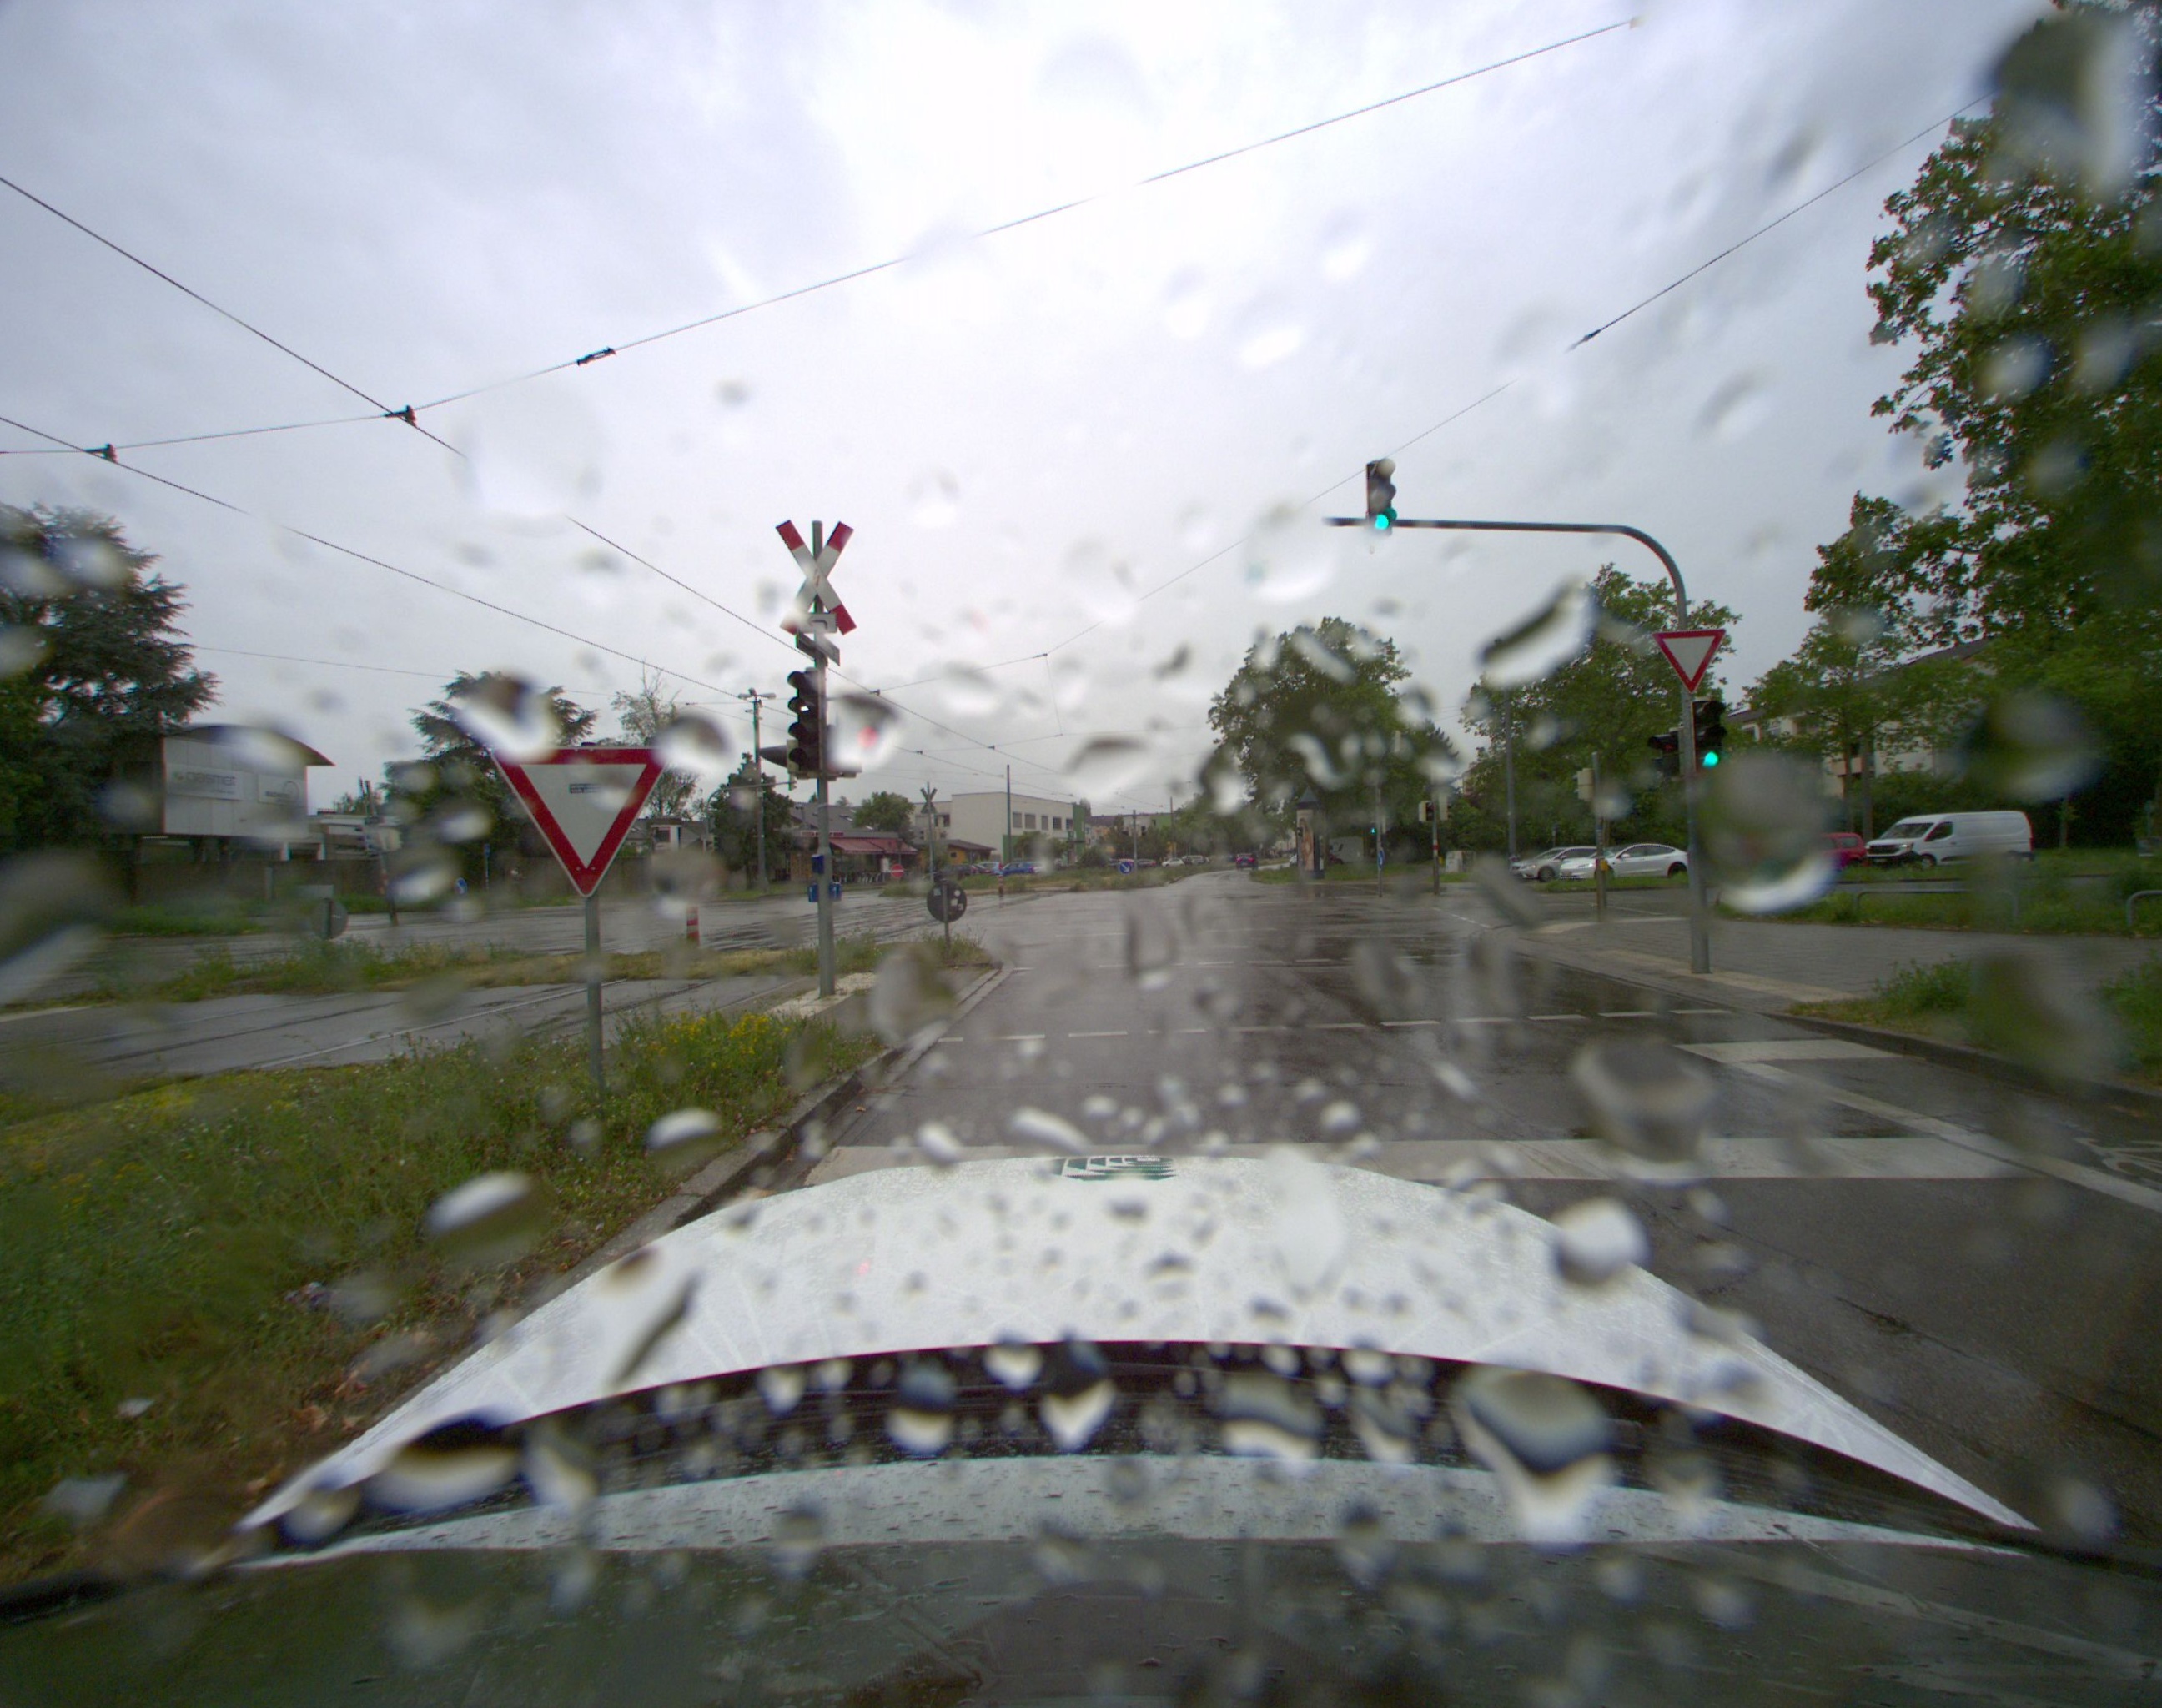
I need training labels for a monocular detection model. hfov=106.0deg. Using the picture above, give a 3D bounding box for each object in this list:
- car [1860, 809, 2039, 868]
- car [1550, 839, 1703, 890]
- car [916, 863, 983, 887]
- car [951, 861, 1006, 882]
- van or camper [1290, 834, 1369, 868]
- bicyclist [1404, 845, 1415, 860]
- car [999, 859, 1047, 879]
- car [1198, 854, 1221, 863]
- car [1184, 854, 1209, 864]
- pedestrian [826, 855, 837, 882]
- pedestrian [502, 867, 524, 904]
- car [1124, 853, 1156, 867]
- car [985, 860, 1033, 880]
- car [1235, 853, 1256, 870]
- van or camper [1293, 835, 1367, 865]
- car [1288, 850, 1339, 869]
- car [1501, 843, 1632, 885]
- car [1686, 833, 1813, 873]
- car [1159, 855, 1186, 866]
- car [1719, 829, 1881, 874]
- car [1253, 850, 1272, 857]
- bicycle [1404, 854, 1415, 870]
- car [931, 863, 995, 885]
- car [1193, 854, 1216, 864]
[{"bbox_3d":[36.756,-0.634,34.565,5.589,2.392,1.999,0,-1,-2],"label":"car"},{"bbox_3d":[20.481,0.370,30.684,4.585,1.828,1.931,0,-1,-5],"label":"car"},{"bbox_3d":[-9.551,1.523,59.377,4.459,1.418,1.860,-3,-1,3],"label":"car"},{"bbox_3d":[-8.168,1.400,65.146,3.966,1.582,1.862,-2,-1,6],"label":"car"},{"bbox_3d":[24.448,-0.225,80.115,7.261,3.178,3.278,-1,-1,20],"label":"van or camper"},{"bbox_3d":[31.225,-0.119,77.457,0.854,1.425,0.961,-1,-1,19],"label":"bicyclist"},{"bbox_3d":[-5.216,1.367,73.209,4.112,1.641,1.922,-1,-1,-12],"label":"car"},{"bbox_3d":[24.987,0.905,158.555,3.977,1.832,1.998,0,-1,-3],"label":"car"},{"bbox_3d":[20.428,0.863,144.622,3.986,1.759,2.004,0,-1,-10],"label":"car"},{"bbox_3d":[-18.761,1.097,61.260,0.726,2.014,0.789,0,-1,-21],"label":"pedestrian"},{"bbox_3d":[-28.583,1.579,40.984,0.890,1.797,0.719,0,0,-33],"label":"pedestrian"},{"bbox_3d":[7.929,0.854,110.013,3.980,1.887,1.997,0,-1,-5],"label":"car"},{"bbox_3d":[-6.234,1.378,70.079,3.986,1.582,1.924,-2,-1,-9],"label":"car"},{"bbox_3d":[16.736,0.785,82.595,1.792,1.686,3.927,-1,-1,16],"label":"car"},{"bbox_3d":[27.238,-0.383,89.227,7.359,3.178,3.281,-1,-1,24],"label":"van or camper"},{"bbox_3d":[22.065,0.511,77.214,4.405,1.717,2.011,-1,-1,23],"label":"car"},{"bbox_3d":[20.212,0.419,34.024,4.385,1.691,1.931,0,-1,-5],"label":"car"},{"bbox_3d":[28.195,-0.037,34.414,4.048,1.607,1.788,0,-1,-5],"label":"car"},{"bbox_3d":[14.228,0.964,126.642,3.772,1.702,1.832,0,-1,-8],"label":"car"},{"bbox_3d":[26.990,-0.090,30.664,4.589,1.607,1.790,0,-1,-1],"label":"car"},{"bbox_3d":[44.065,-0.127,197.911,3.977,1.832,1.998,0,-1,-3],"label":"car"},{"bbox_3d":[31.131,0.769,77.144,0.854,1.425,2.716,-1,-1,19],"label":"bicycle"},{"bbox_3d":[-8.907,1.531,61.771,4.478,1.418,1.860,-3,-1,3],"label":"car"},{"bbox_3d":[23.249,0.877,153.524,3.986,1.832,1.994,0,-1,-10],"label":"car"}]
